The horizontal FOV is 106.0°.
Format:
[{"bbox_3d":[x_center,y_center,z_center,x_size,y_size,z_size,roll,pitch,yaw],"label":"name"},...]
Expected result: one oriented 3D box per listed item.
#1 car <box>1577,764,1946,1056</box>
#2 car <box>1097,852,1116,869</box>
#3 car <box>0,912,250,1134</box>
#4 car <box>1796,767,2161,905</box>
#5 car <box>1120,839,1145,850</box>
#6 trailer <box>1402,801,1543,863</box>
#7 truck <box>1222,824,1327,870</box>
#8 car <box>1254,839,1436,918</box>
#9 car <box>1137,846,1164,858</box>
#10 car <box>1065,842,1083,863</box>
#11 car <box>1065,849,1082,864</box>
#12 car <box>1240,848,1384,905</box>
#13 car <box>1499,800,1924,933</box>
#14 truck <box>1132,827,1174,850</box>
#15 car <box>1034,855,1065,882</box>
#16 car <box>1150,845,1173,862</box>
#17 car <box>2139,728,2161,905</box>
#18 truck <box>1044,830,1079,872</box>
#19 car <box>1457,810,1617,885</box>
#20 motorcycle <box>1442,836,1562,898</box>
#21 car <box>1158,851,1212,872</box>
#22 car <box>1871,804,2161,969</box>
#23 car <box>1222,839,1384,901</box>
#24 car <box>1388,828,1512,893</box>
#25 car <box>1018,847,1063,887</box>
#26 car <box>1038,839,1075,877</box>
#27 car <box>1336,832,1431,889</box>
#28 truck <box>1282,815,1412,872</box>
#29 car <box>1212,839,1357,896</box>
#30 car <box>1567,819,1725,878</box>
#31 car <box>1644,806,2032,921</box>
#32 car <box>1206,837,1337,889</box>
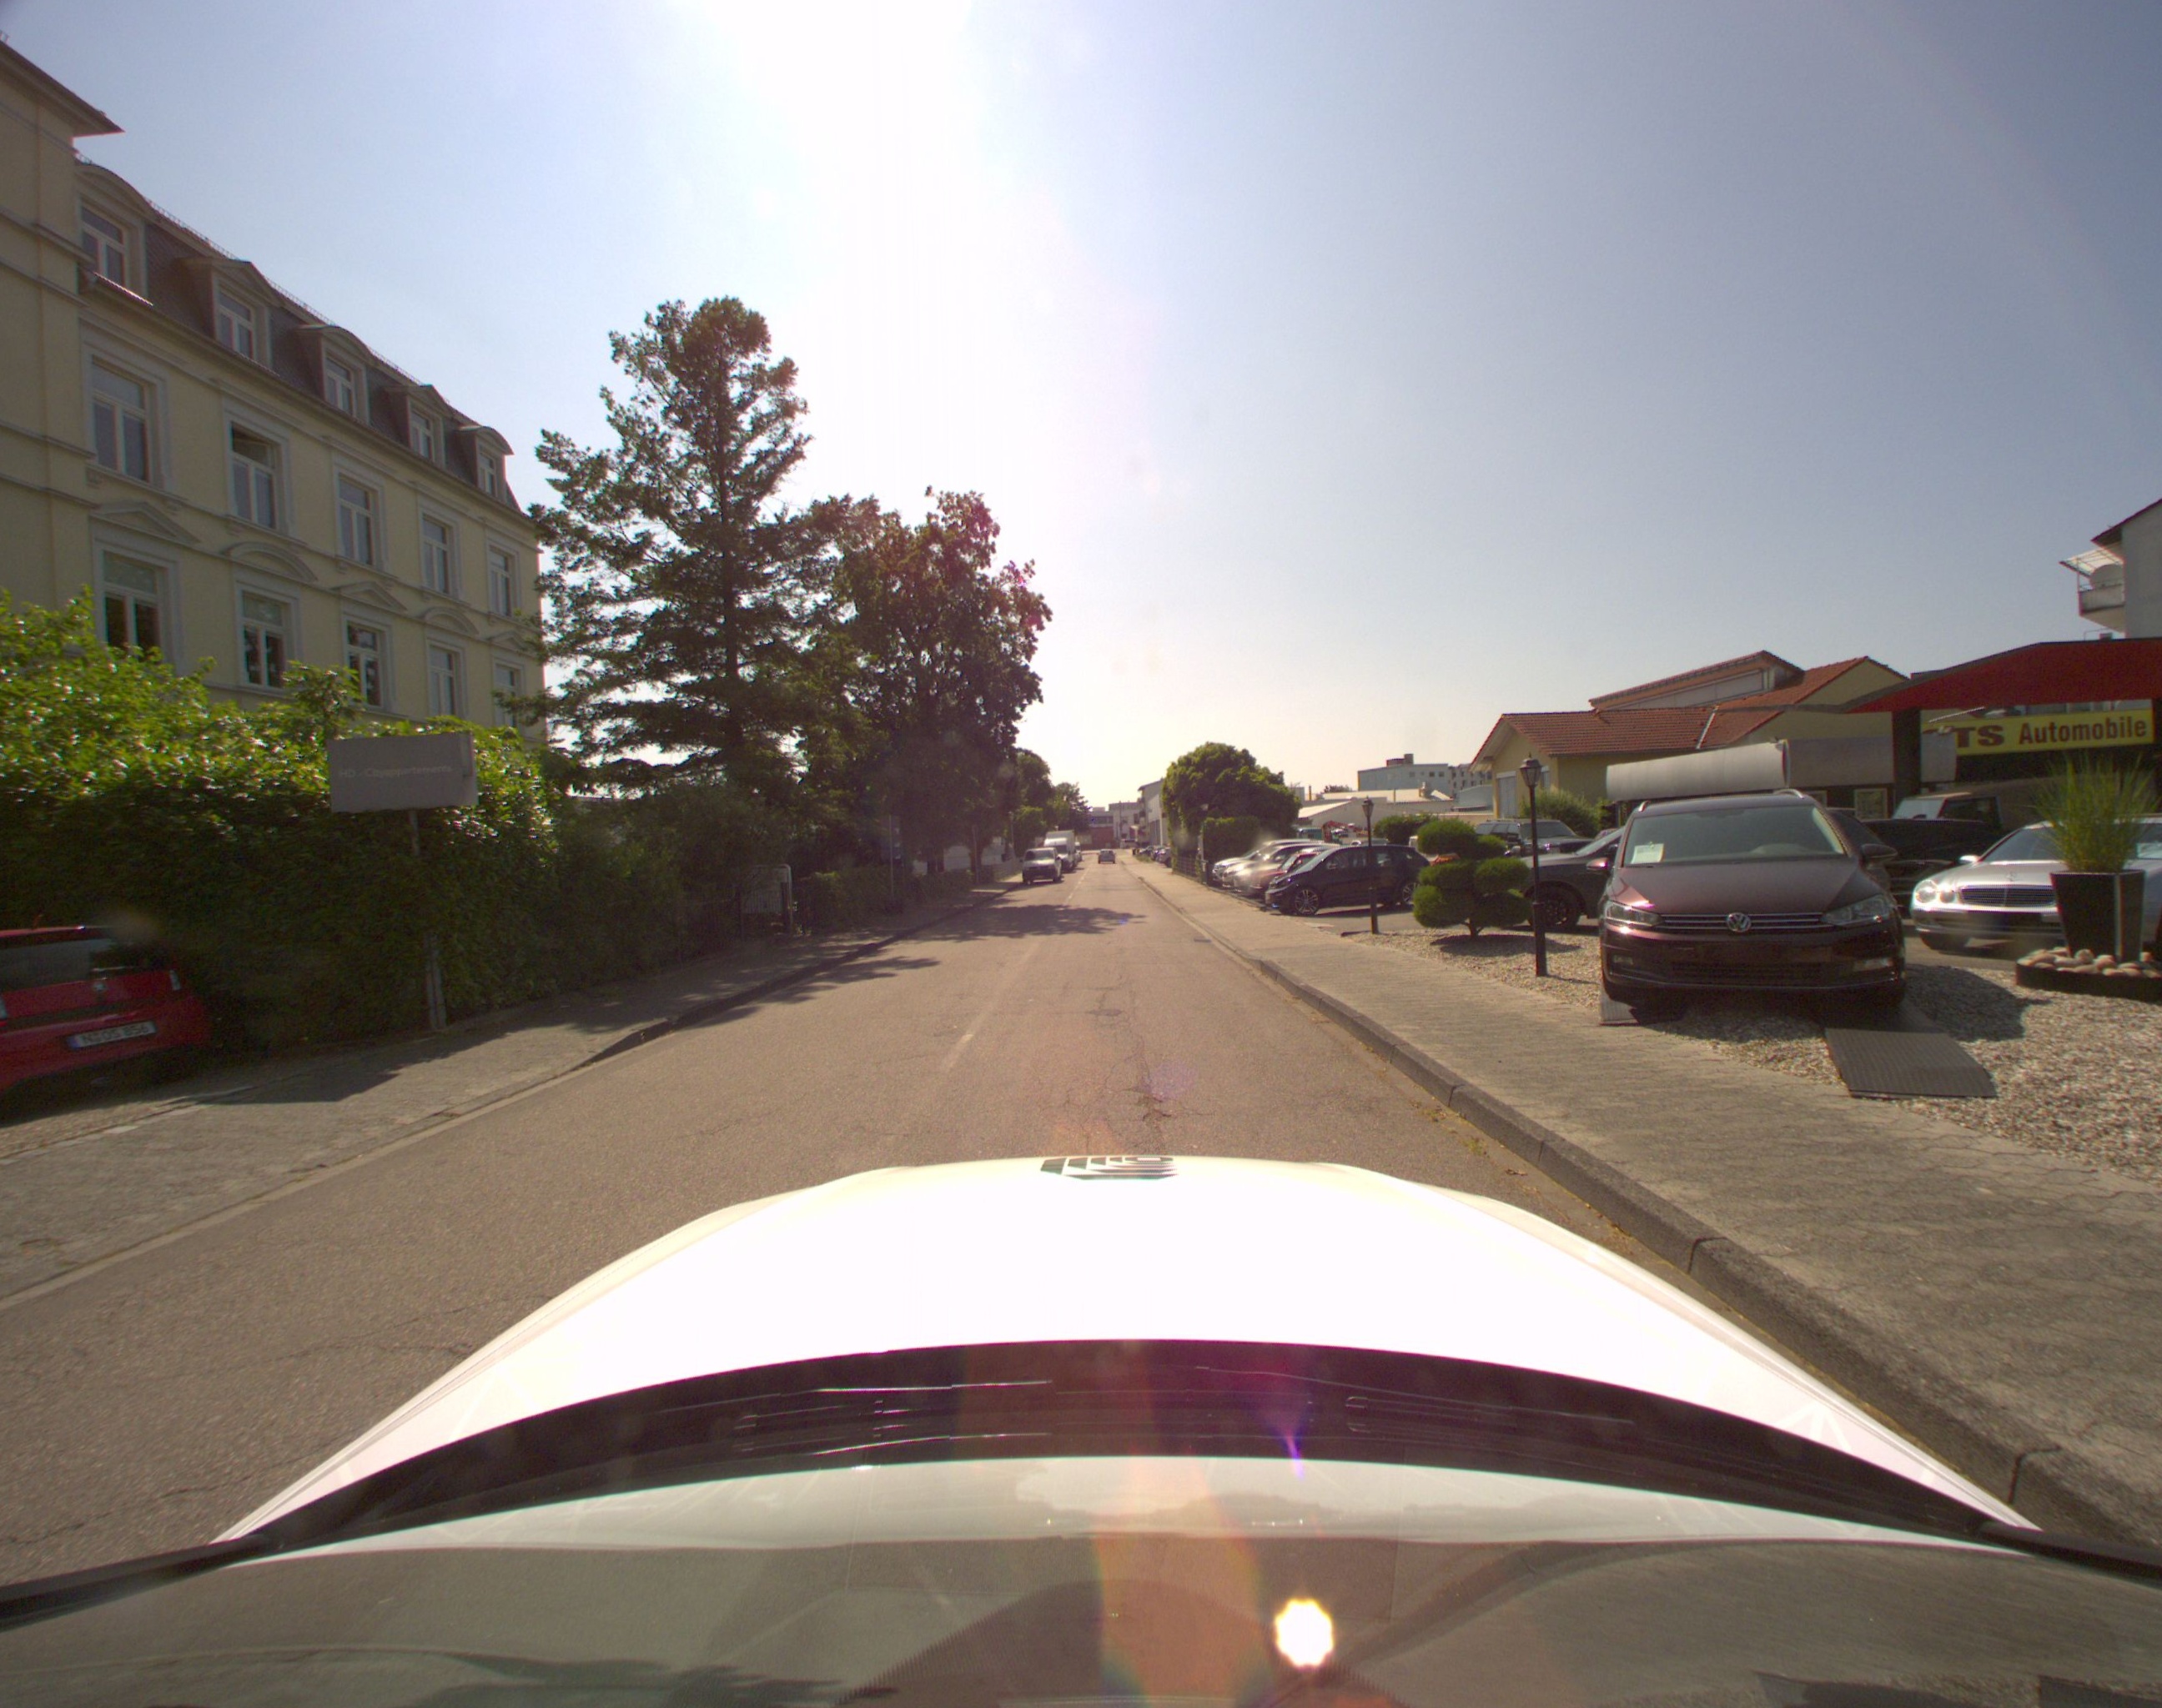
[{"bbox_3d":[5.707,0.334,7.267,1.829,1.782,4.318,-4,-1,35],"label":"car"},{"bbox_3d":[2.671,0.642,85.222,1.884,1.685,3.958,-2,0,1],"label":"car"},{"bbox_3d":[-9.368,1.463,6.674,3.397,1.466,1.652,-7,-1,4],"label":"car"},{"bbox_3d":[16.821,-0.299,15.373,4.524,2.150,1.935,-4,0,19],"label":"car"},{"bbox_3d":[10.221,-1.877,161.853,4.667,1.957,1.905,-3,1,-18],"label":"car"},{"bbox_3d":[27.524,-1.526,57.624,8.290,3.862,3.073,-3,0,6],"label":"trailer"},{"bbox_3d":[14.807,-0.552,62.747,7.490,3.423,2.528,0,0,1],"label":"truck"},{"bbox_3d":[6.333,0.567,19.814,3.791,1.624,1.759,-3,0,-1],"label":"car"},{"bbox_3d":[8.687,-0.273,102.254,3.241,1.398,1.674,-3,1,1],"label":"car"},{"bbox_3d":[-0.829,-0.172,100.651,1.999,2.366,5.228,-5,1,0],"label":"car"},{"bbox_3d":[-0.917,0.299,95.477,1.701,1.624,3.969,-4,1,-3],"label":"car"},{"bbox_3d":[6.408,0.607,22.829,3.538,1.335,1.558,-4,0,-1],"label":"car"},{"bbox_3d":[9.357,0.253,12.754,4.934,1.762,1.937,-3,0,27],"label":"car"},{"bbox_3d":[13.547,-2.962,153.384,7.347,3.644,2.763,-6,1,-5],"label":"truck"},{"bbox_3d":[-1.995,0.899,52.935,1.708,1.543,4.400,-4,0,0],"label":"car"},{"bbox_3d":[8.357,-0.090,84.858,1.852,1.567,4.952,-3,1,1],"label":"car"},{"bbox_3d":[19.511,-0.682,12.590,6.023,2.678,2.243,-2,0,-22],"label":"car"},{"bbox_3d":[-1.717,-0.234,71.648,2.678,3.366,7.125,-3,0,-1],"label":"truck"},{"bbox_3d":[14.019,-0.182,25.467,1.989,2.013,4.902,-3,0,-3],"label":"car"},{"bbox_3d":[11.065,0.333,21.435,2.682,1.433,1.007,-3,0,-10],"label":"motorcycle"},{"bbox_3d":[8.350,0.578,65.562,4.187,1.682,1.767,0,0,0],"label":"car"},{"bbox_3d":[11.488,0.241,9.286,4.209,1.534,1.912,-3,-1,-21],"label":"car"},{"bbox_3d":[6.832,0.484,25.313,4.395,1.497,1.894,-5,-1,-5],"label":"car"},{"bbox_3d":[11.190,0.181,25.049,1.987,1.728,4.000,-3,0,1],"label":"car"},{"bbox_3d":[-2.188,0.686,45.760,1.964,2.013,5.058,-4,0,2],"label":"car"},{"bbox_3d":[-1.780,0.259,61.750,2.160,2.595,6.925,-4,0,3],"label":"car"},{"bbox_3d":[10.753,0.244,29.225,1.987,1.860,3.789,-2,-1,1],"label":"car"},{"bbox_3d":[18.940,-0.748,58.408,8.239,3.611,2.957,-2,0,4],"label":"truck"},{"bbox_3d":[6.925,0.467,27.987,4.395,1.527,1.894,-5,-1,-5],"label":"car"},{"bbox_3d":[17.597,-0.153,25.648,1.990,1.596,3.994,-3,0,-4],"label":"car"},{"bbox_3d":[12.866,0.220,14.294,4.522,1.636,1.936,-4,-2,22],"label":"car"},{"bbox_3d":[7.038,0.324,30.424,4.390,1.653,1.843,-3,0,-2],"label":"car"}]
